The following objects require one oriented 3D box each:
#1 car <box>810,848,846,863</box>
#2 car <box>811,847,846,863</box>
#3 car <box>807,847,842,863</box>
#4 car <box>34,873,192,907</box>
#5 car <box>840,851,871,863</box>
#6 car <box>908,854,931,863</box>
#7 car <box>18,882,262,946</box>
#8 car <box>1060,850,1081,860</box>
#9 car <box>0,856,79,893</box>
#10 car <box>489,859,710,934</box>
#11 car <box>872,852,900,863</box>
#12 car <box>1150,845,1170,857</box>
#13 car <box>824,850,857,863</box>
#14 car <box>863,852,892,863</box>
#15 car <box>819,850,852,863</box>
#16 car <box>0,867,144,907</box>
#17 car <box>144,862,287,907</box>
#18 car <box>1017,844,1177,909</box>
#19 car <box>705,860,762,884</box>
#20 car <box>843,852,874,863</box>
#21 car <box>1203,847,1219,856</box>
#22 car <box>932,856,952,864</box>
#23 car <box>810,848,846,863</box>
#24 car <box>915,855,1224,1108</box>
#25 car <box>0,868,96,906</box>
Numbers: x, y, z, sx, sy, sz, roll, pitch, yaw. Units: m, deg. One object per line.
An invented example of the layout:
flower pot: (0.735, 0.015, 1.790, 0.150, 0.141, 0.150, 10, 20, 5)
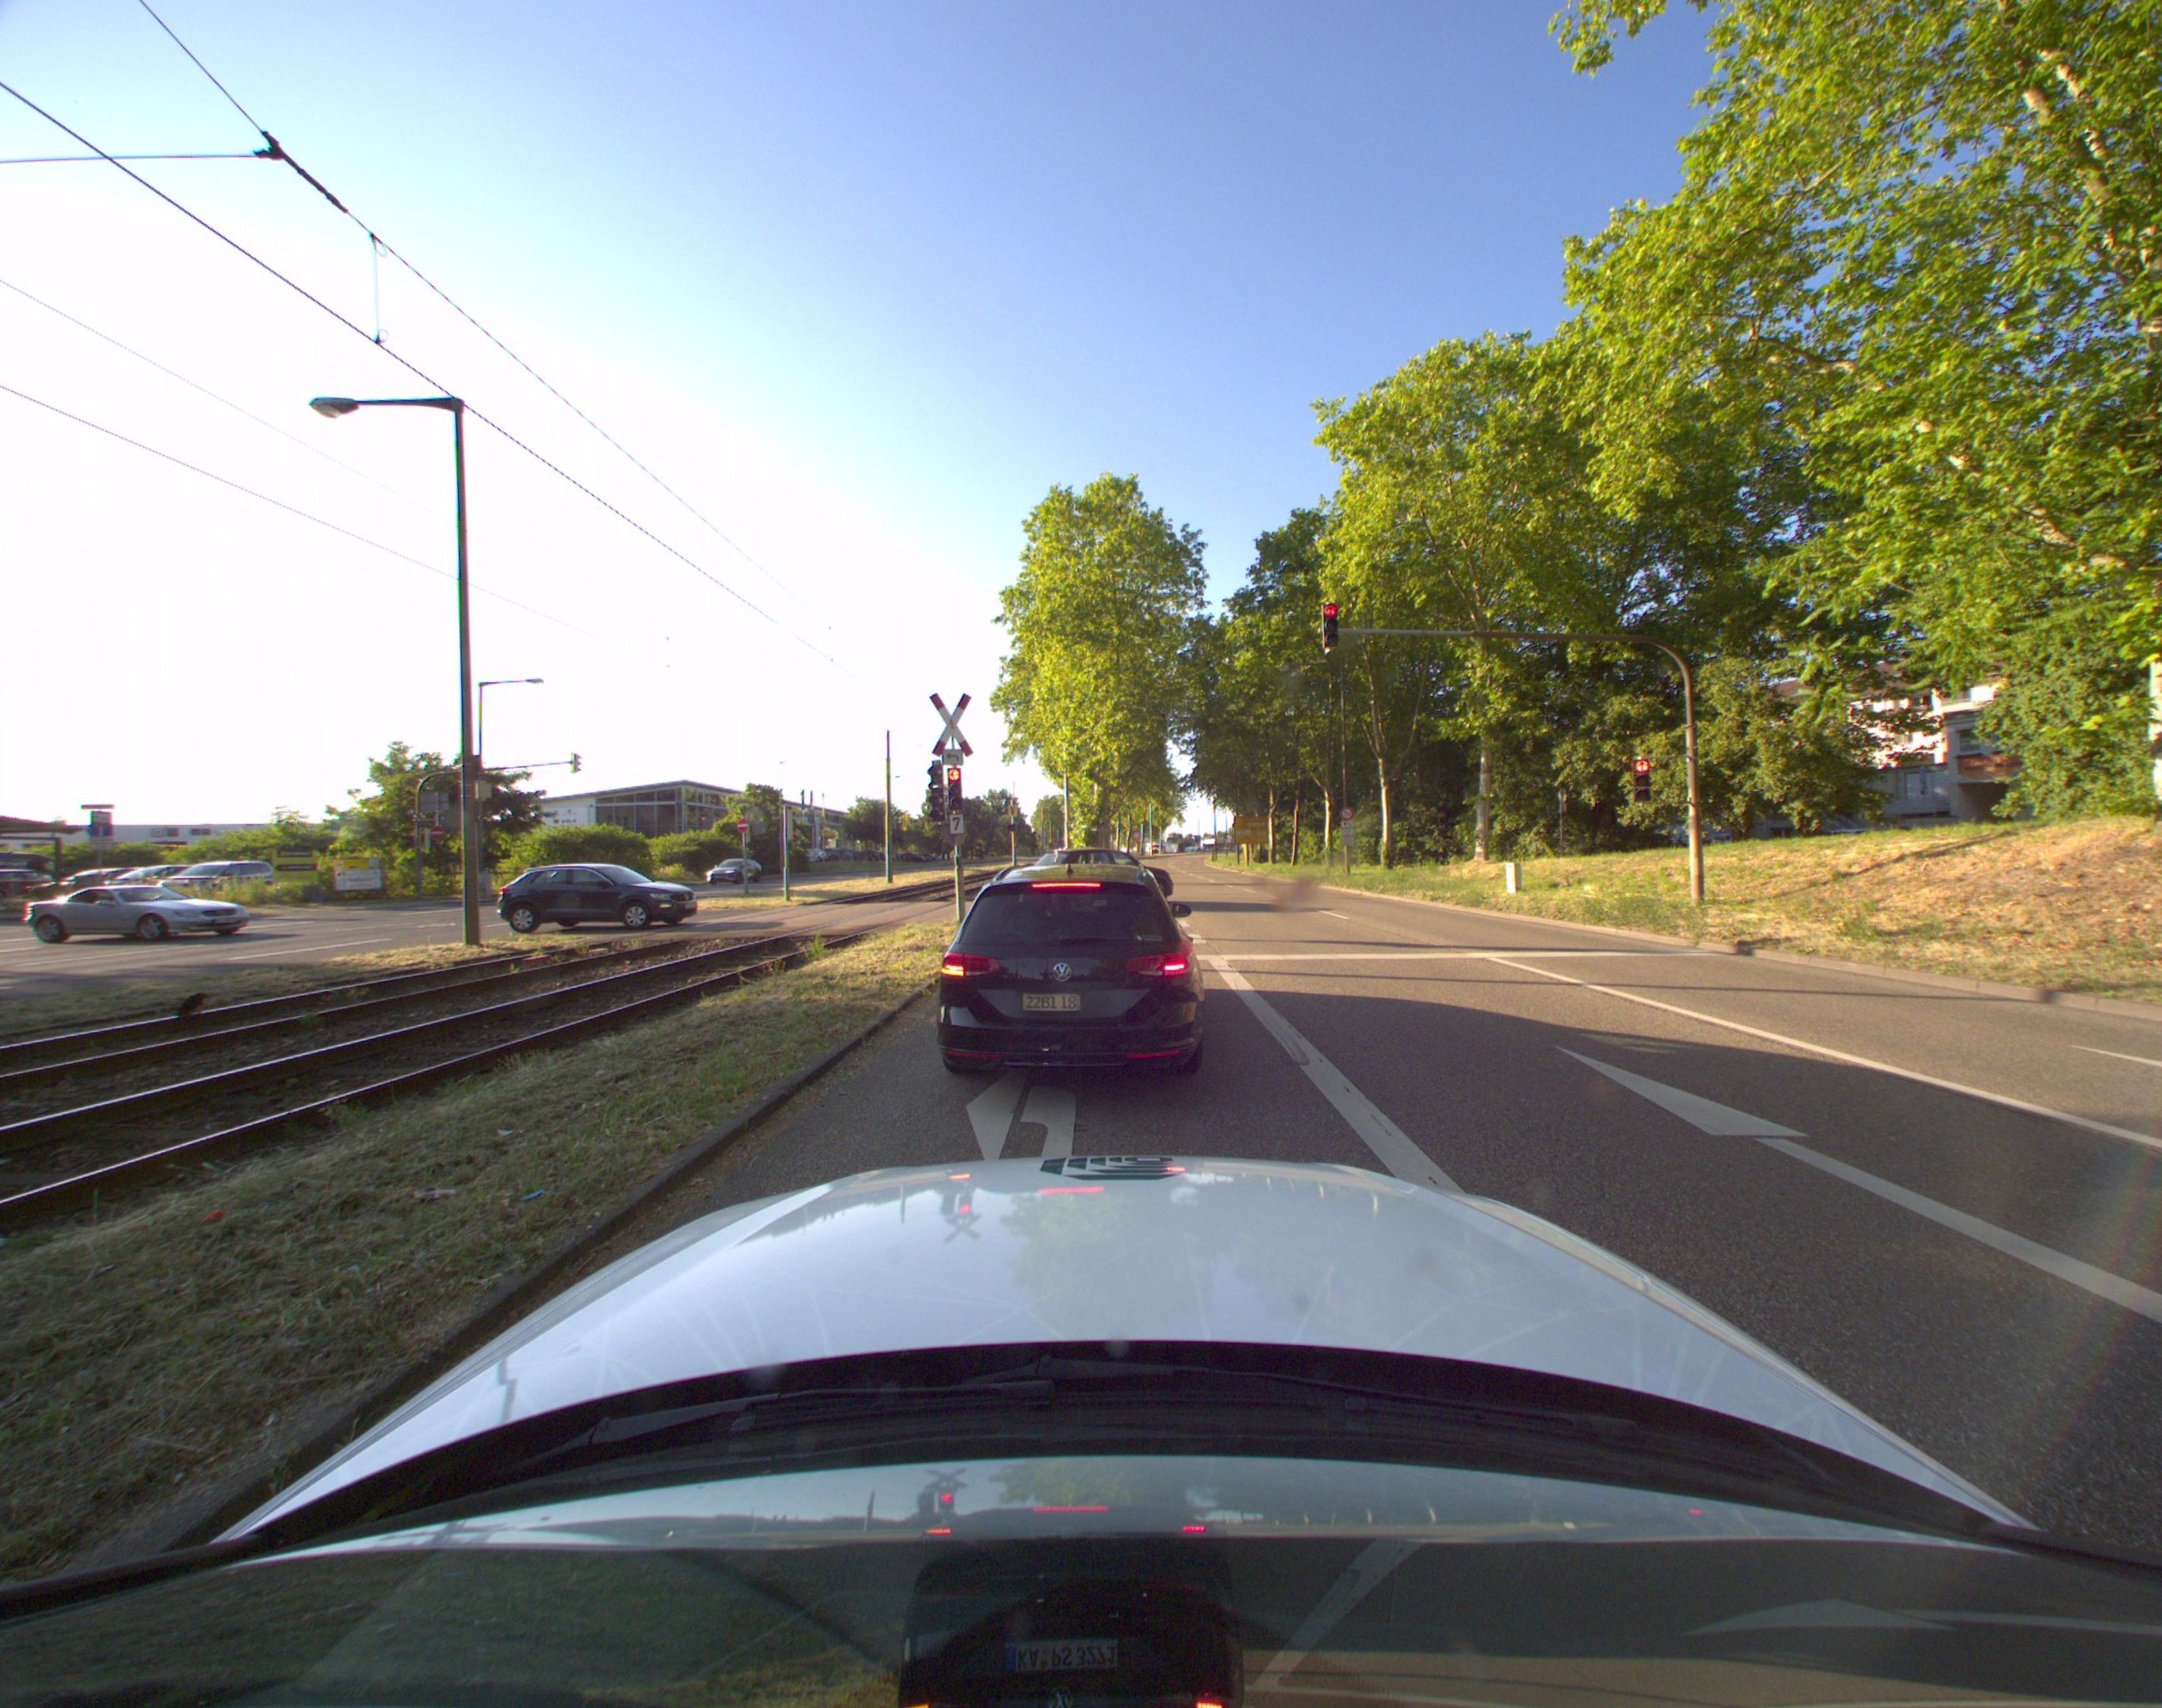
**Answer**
car: (-29.949, 0.160, 96.391, 3.999, 1.704, 1.732, -1, 0, -19)
car: (-30.600, 0.125, 98.745, 3.999, 1.816, 1.732, -1, 0, -19)
car: (-31.643, 0.127, 100.526, 3.999, 1.816, 1.732, -1, 0, -19)
car: (-42.472, 1.557, 35.897, 1.855, 1.267, 4.174, 0, 0, 2)
car: (-31.226, 0.434, 112.614, 3.999, 1.556, 1.732, -1, 0, -19)
car: (-29.100, 0.864, 146.847, 3.978, 1.621, 1.742, -1, 0, -3)
car: (-22.727, 1.424, 19.772, 3.957, 1.294, 1.614, -2, 0, 0)
car: (-1.670, 0.135, 133.171, 1.845, 1.481, 4.115, 0, 0, 25)
car: (-60.421, 1.145, 45.913, 1.855, 2.014, 4.773, 0, 0, 2)
car: (-11.272, 0.966, 19.268, 4.139, 1.561, 1.713, -2, 0, -1)
car: (-30.116, 0.586, 125.955, 3.978, 1.621, 1.742, -1, 0, -3)
car: (16.672, -0.617, 171.185, 2.075, 2.461, 5.888, 0, 0, 29)
car: (-31.363, 0.342, 106.216, 3.999, 1.556, 1.732, -1, 0, -19)
car: (-30.604, 0.543, 122.753, 3.978, 1.621, 1.742, -1, 0, -3)
car: (-31.149, 0.297, 103.425, 3.999, 1.556, 1.732, -1, 0, -19)
car: (-44.711, 1.397, 35.900, 1.855, 1.583, 4.174, 0, 0, 2)
car: (-38.524, 1.317, 36.418, 1.855, 1.821, 4.174, 0, 0, 2)
car: (0.532, 0.576, 23.469, 4.391, 1.635, 1.857, -2, 0, -38)
car: (-23.247, 1.180, 54.689, 1.854, 1.481, 4.176, 0, 0, 3)
car: (-31.434, 0.472, 115.321, 3.983, 1.556, 1.739, -1, 0, -7)
car: (31.864, -0.632, 199.836, 2.075, 2.065, 4.911, 0, 0, 32)
car: (-28.806, 1.182, 168.927, 3.977, 1.556, 1.742, -1, 0, -2)
car: (-29.259, 0.143, 94.122, 3.999, 1.704, 1.732, -1, 0, -19)
car: (-0.020, 0.744, 6.529, 1.788, 1.464, 3.584, 0, 0, 1)
car: (-47.161, 1.446, 36.053, 1.970, 1.583, 4.174, 0, 0, 2)
